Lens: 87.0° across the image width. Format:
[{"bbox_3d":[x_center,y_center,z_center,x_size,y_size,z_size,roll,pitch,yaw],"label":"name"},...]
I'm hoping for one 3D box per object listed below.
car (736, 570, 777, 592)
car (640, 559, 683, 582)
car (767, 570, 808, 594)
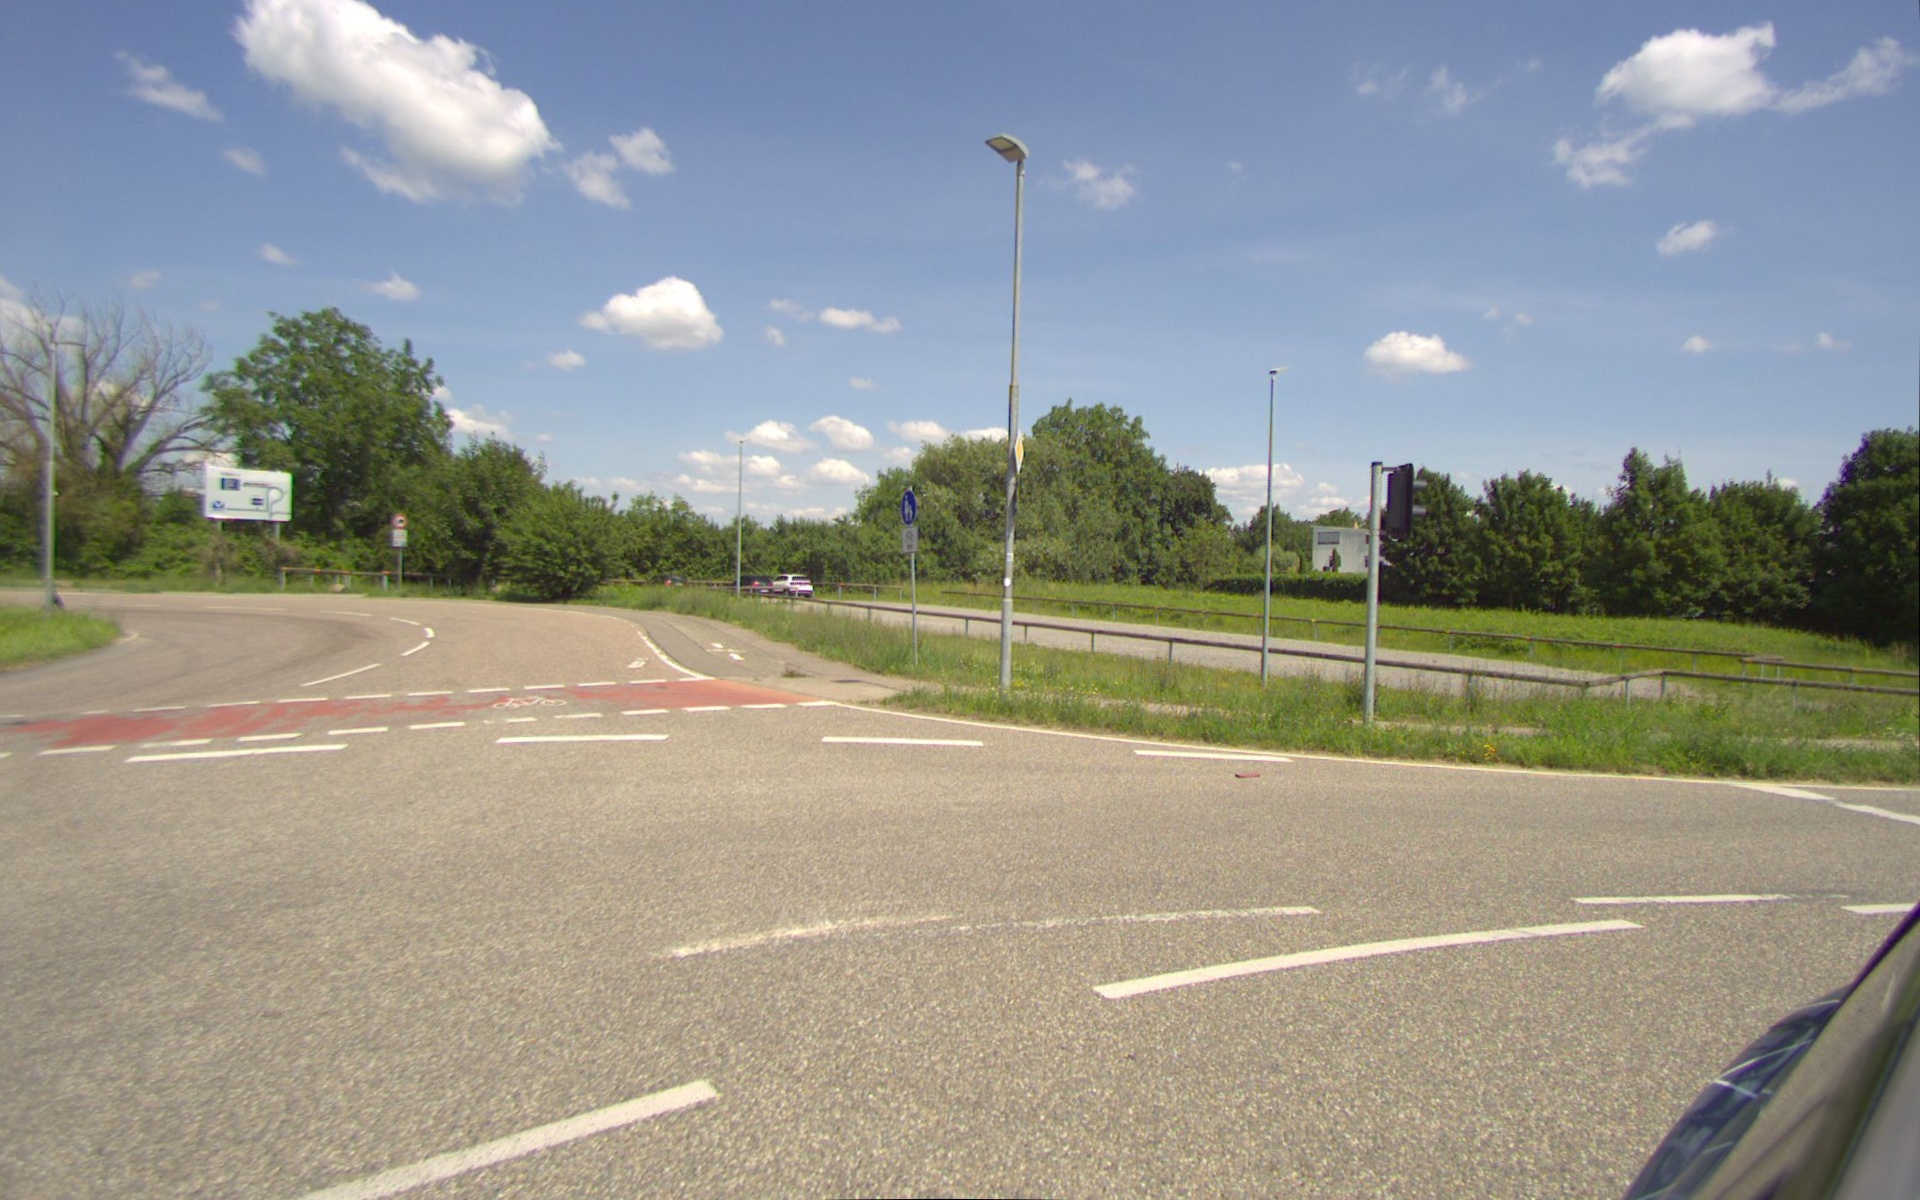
[{"bbox_3d":[-12.776,-1.182,63.413,1.391,1.354,3.119,0,1,-34],"label":"car"},{"bbox_3d":[-17.840,-1.752,60.427,1.393,1.354,3.116,0,1,-38],"label":"car"},{"bbox_3d":[-11.151,-1.161,65.336,1.392,1.523,3.118,0,1,-35],"label":"car"}]
